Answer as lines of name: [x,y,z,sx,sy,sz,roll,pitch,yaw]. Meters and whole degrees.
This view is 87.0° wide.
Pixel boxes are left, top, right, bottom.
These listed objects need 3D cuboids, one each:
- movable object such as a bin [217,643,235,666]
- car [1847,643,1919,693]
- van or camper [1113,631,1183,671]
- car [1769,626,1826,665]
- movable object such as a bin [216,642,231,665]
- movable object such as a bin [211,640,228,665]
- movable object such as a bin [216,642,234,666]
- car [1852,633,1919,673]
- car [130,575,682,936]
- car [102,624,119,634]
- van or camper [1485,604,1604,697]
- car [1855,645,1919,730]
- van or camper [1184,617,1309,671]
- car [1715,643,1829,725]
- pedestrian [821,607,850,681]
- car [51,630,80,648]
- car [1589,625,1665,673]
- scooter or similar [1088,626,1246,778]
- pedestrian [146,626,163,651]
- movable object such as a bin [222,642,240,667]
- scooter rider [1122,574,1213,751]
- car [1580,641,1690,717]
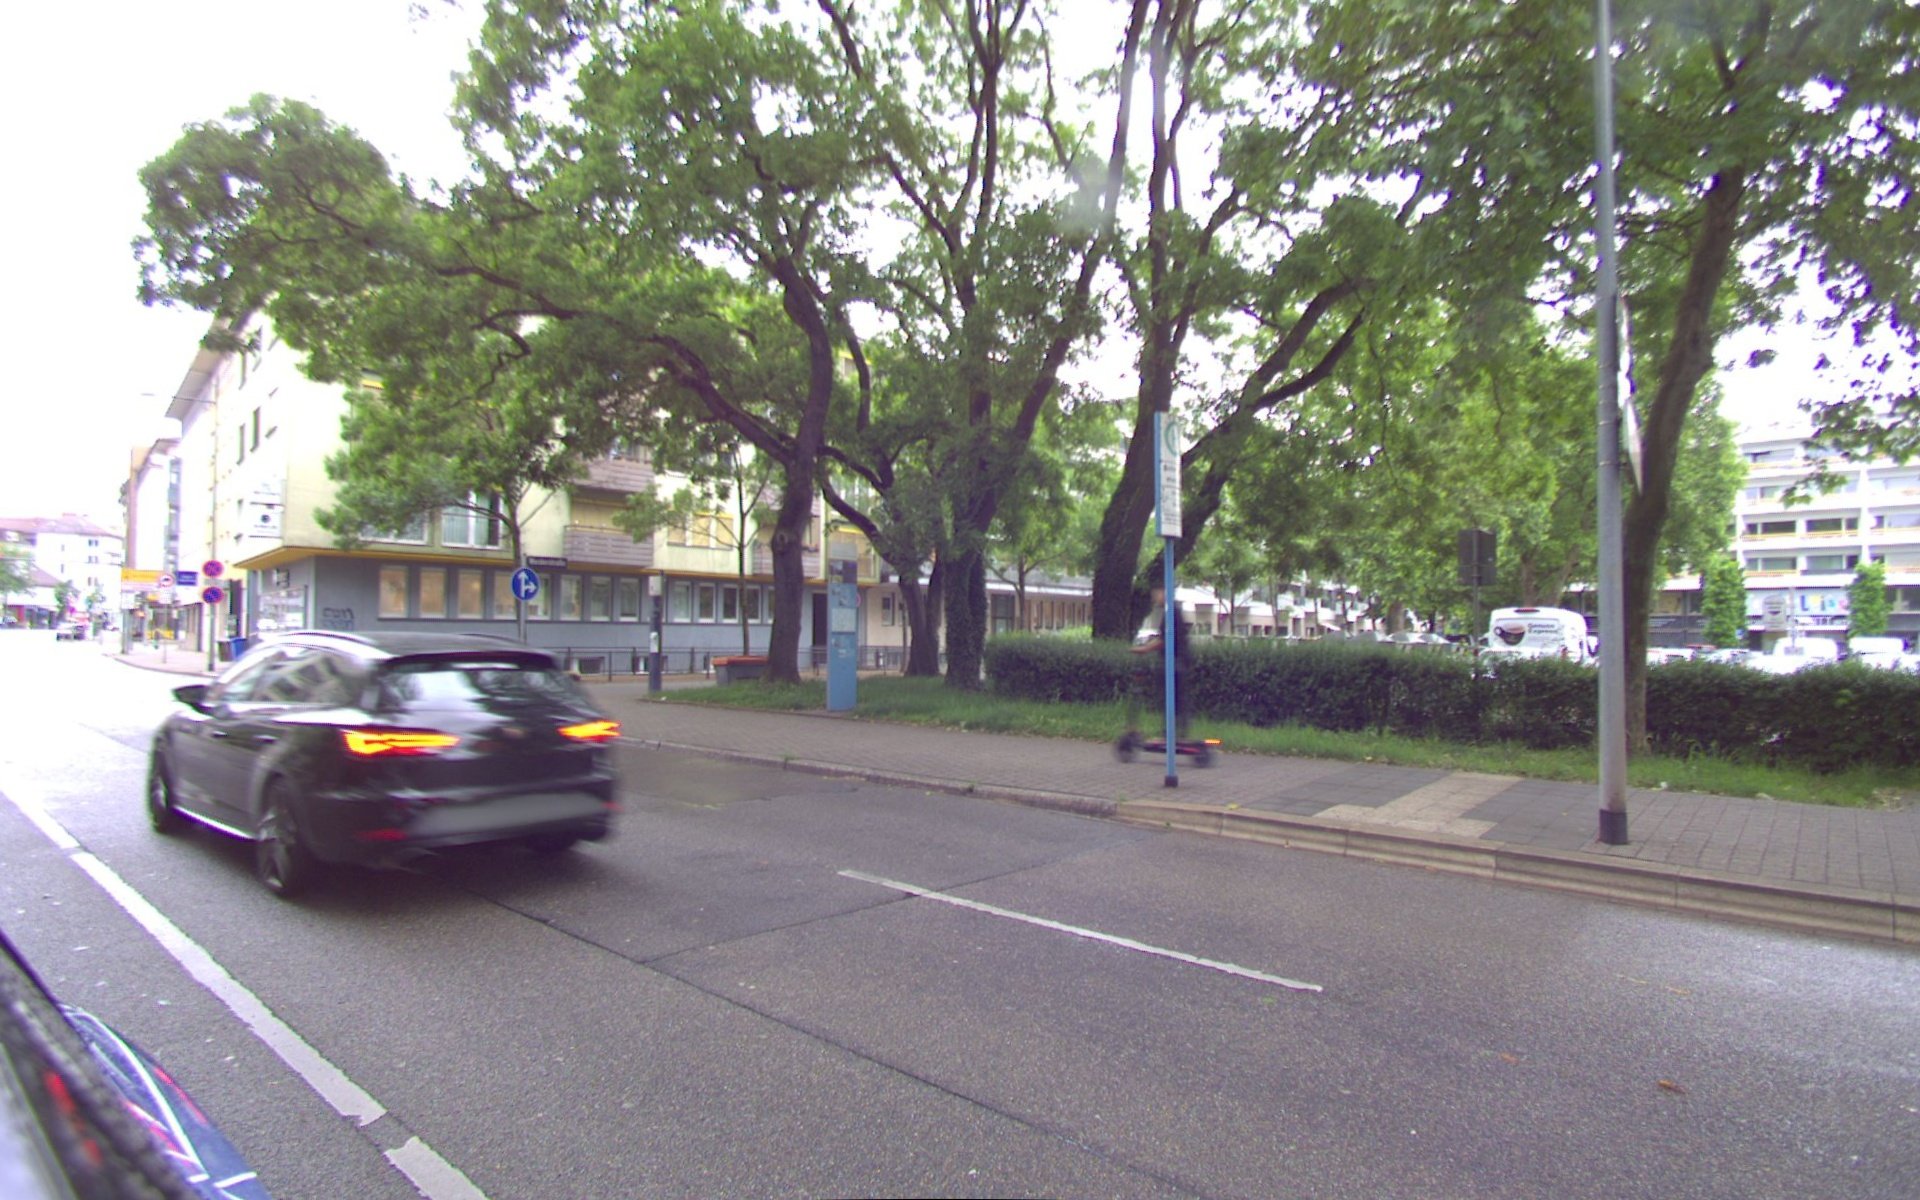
movable object such as a bin: [-30.410,2.272,41.947,0.522,0.902,0.435,-3,1,-42]
car: [33.345,2.405,36.459,1.895,1.497,3.948,-1,0,39]
van or camper: [10.376,2.789,55.600,1.825,2.029,4.576,1,-2,38]
car: [41.880,2.231,50.679,2.097,1.735,3.948,-1,0,39]
movable object such as a bin: [-31.120,2.268,42.759,0.458,0.935,0.429,-3,1,-42]
movable object such as a bin: [-31.705,2.250,43.343,0.510,1.008,0.524,-3,1,-42]
movable object such as a bin: [-30.769,2.263,42.349,0.521,0.935,0.426,-3,1,-42]
car: [40.312,2.269,44.157,1.895,1.497,3.948,-1,0,39]
car: [-3.826,0.787,6.679,4.135,1.638,1.826,-2,-4,41]
car: [-127.262,4.351,151.606,1.567,1.539,3.496,2,-3,-36]
van or camper: [16.914,1.426,29.183,2.099,2.450,4.280,-2,-3,42]
car: [20.495,1.811,21.605,1.895,1.497,3.948,-1,0,39]
van or camper: [14.155,2.117,49.486,2.561,2.420,8.535,-2,-3,41]
car: [18.598,1.842,23.213,1.895,1.497,3.948,-1,0,39]
pedestrian: [-3.471,1.233,28.255,0.770,2.029,0.754,1,-2,-7]
car: [-82.245,3.560,93.124,1.807,1.634,4.007,2,-3,-39]
car: [24.043,1.724,36.438,1.895,1.497,3.948,-1,0,39]
scooter or similar: [2.159,1.012,10.596,1.397,1.457,0.806,0,-2,41]
pedestrian: [-53.495,2.556,67.224,0.773,1.600,0.675,-1,-1,-29]
movable object such as a bin: [-29.985,2.235,41.648,0.522,0.968,0.435,-3,1,-42]
scooter rider: [2.185,0.632,10.649,0.645,1.779,0.725,0,-1,42]
car: [16.719,1.873,24.997,1.895,1.497,3.948,-1,0,39]
